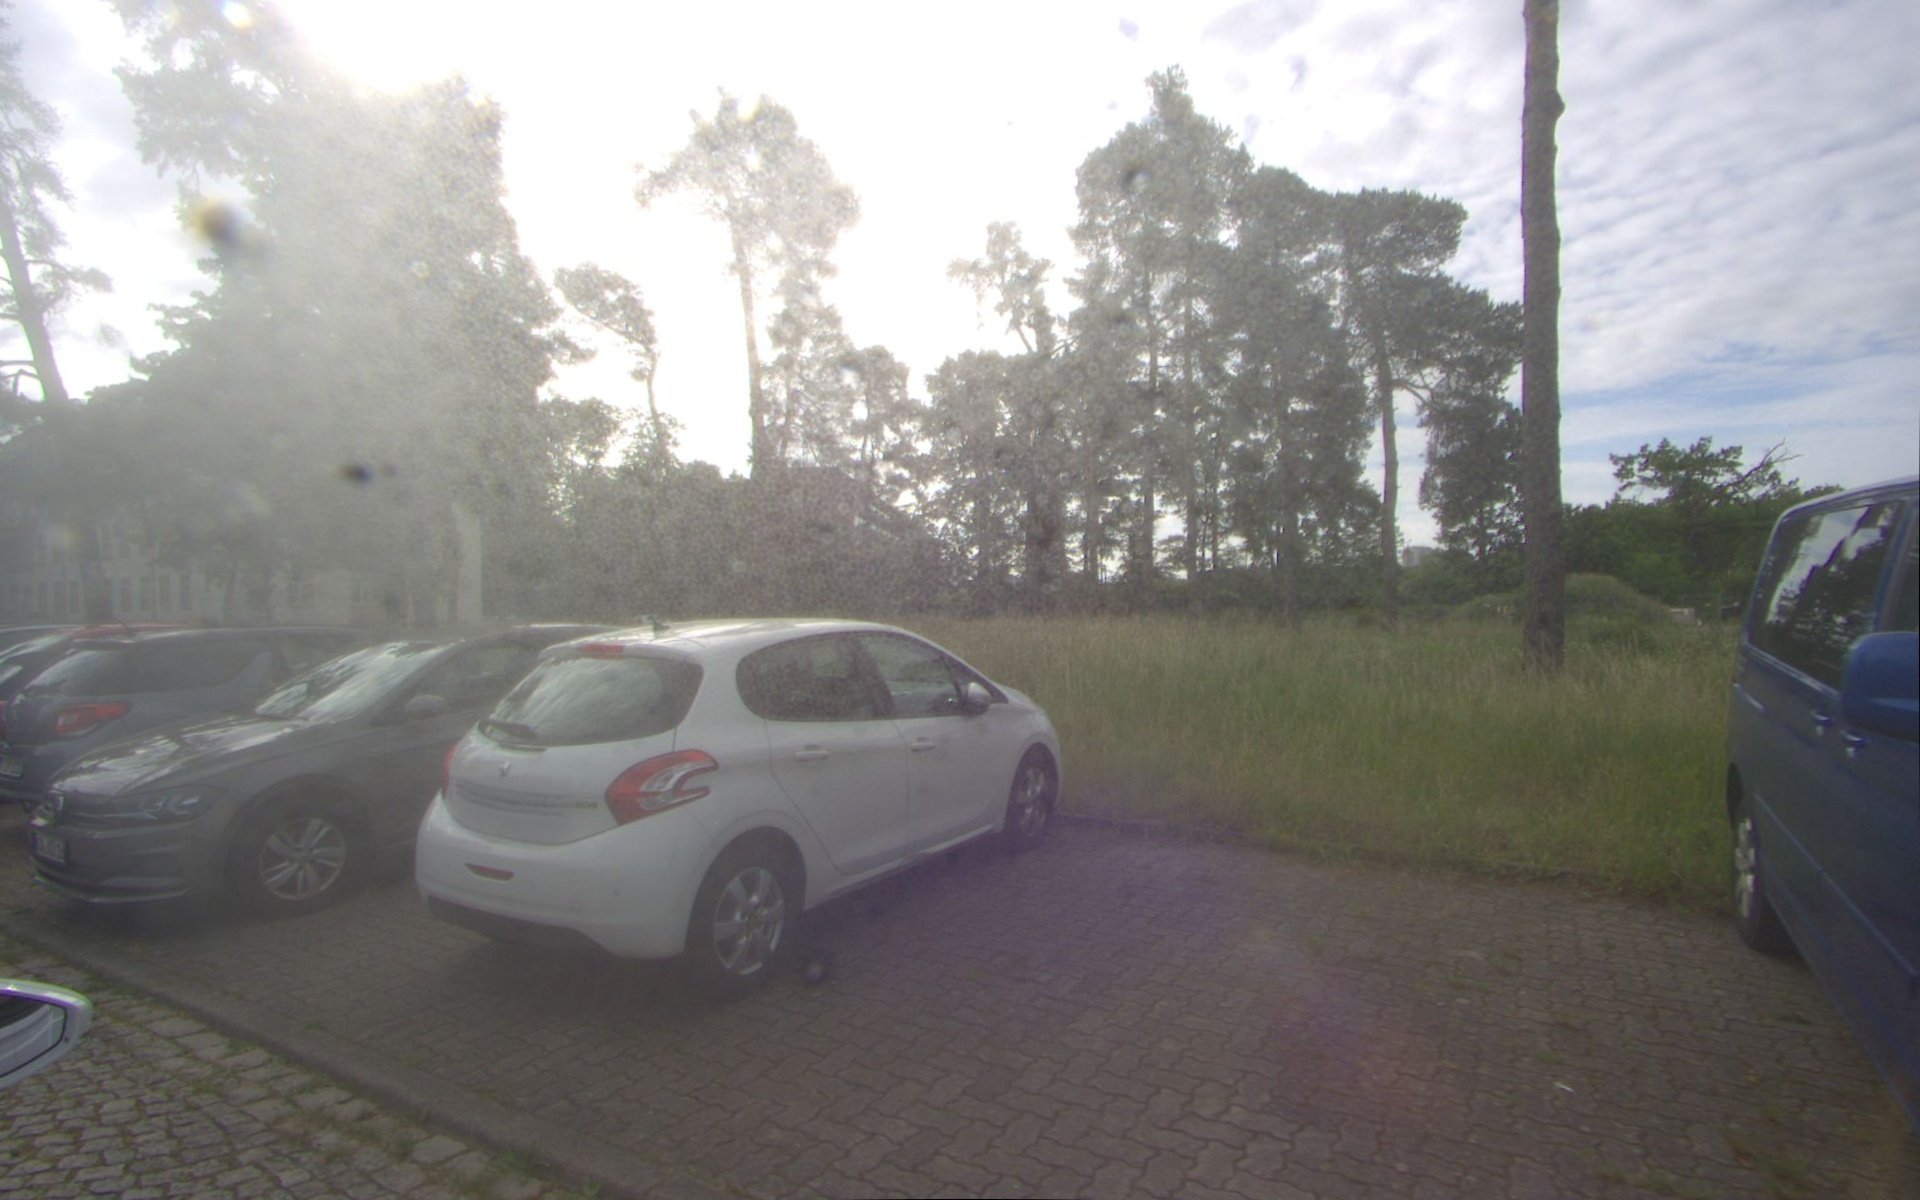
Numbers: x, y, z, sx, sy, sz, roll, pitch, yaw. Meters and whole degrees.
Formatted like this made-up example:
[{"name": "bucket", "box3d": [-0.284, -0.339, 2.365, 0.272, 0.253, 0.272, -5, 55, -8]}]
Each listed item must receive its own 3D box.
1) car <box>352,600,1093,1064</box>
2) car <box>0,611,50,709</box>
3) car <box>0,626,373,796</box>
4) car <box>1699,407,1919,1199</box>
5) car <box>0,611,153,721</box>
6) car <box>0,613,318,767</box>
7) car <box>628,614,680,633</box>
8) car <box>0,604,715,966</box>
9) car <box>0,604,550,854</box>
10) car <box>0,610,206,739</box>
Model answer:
[{"name": "car", "box3d": [-0.863, 0.804, 5.508, 1.733, 1.492, 3.853, 0, 1, 32]}, {"name": "car", "box3d": [-16.310, 0.982, 14.794, 1.619, 1.497, 3.917, 0, 1, 32]}, {"name": "car", "box3d": [-8.068, 0.960, 9.587, 1.731, 1.253, 3.856, -1, 1, 30]}, {"name": "car", "box3d": [3.438, 0.520, 2.502, 1.973, 1.972, 4.800, 0, 1, 29]}, {"name": "car", "box3d": [-14.206, 0.955, 13.607, 1.842, 1.436, 4.675, -1, 1, 28]}, {"name": "car", "box3d": [-9.950, 0.945, 11.212, 1.843, 1.436, 4.254, 0, 1, 30]}, {"name": "car", "box3d": [-25.062, 1.967, 82.073, 1.627, 1.439, 3.941, -1, -3, 33]}, {"name": "car", "box3d": [-3.591, 0.834, 6.514, 1.731, 1.492, 3.857, -1, 1, 28]}, {"name": "car", "box3d": [-5.706, 0.842, 8.496, 1.731, 1.492, 3.856, 0, 1, 29]}, {"name": "car", "box3d": [-12.051, 0.919, 12.050, 1.839, 1.436, 4.423, -1, 1, 22]}]
